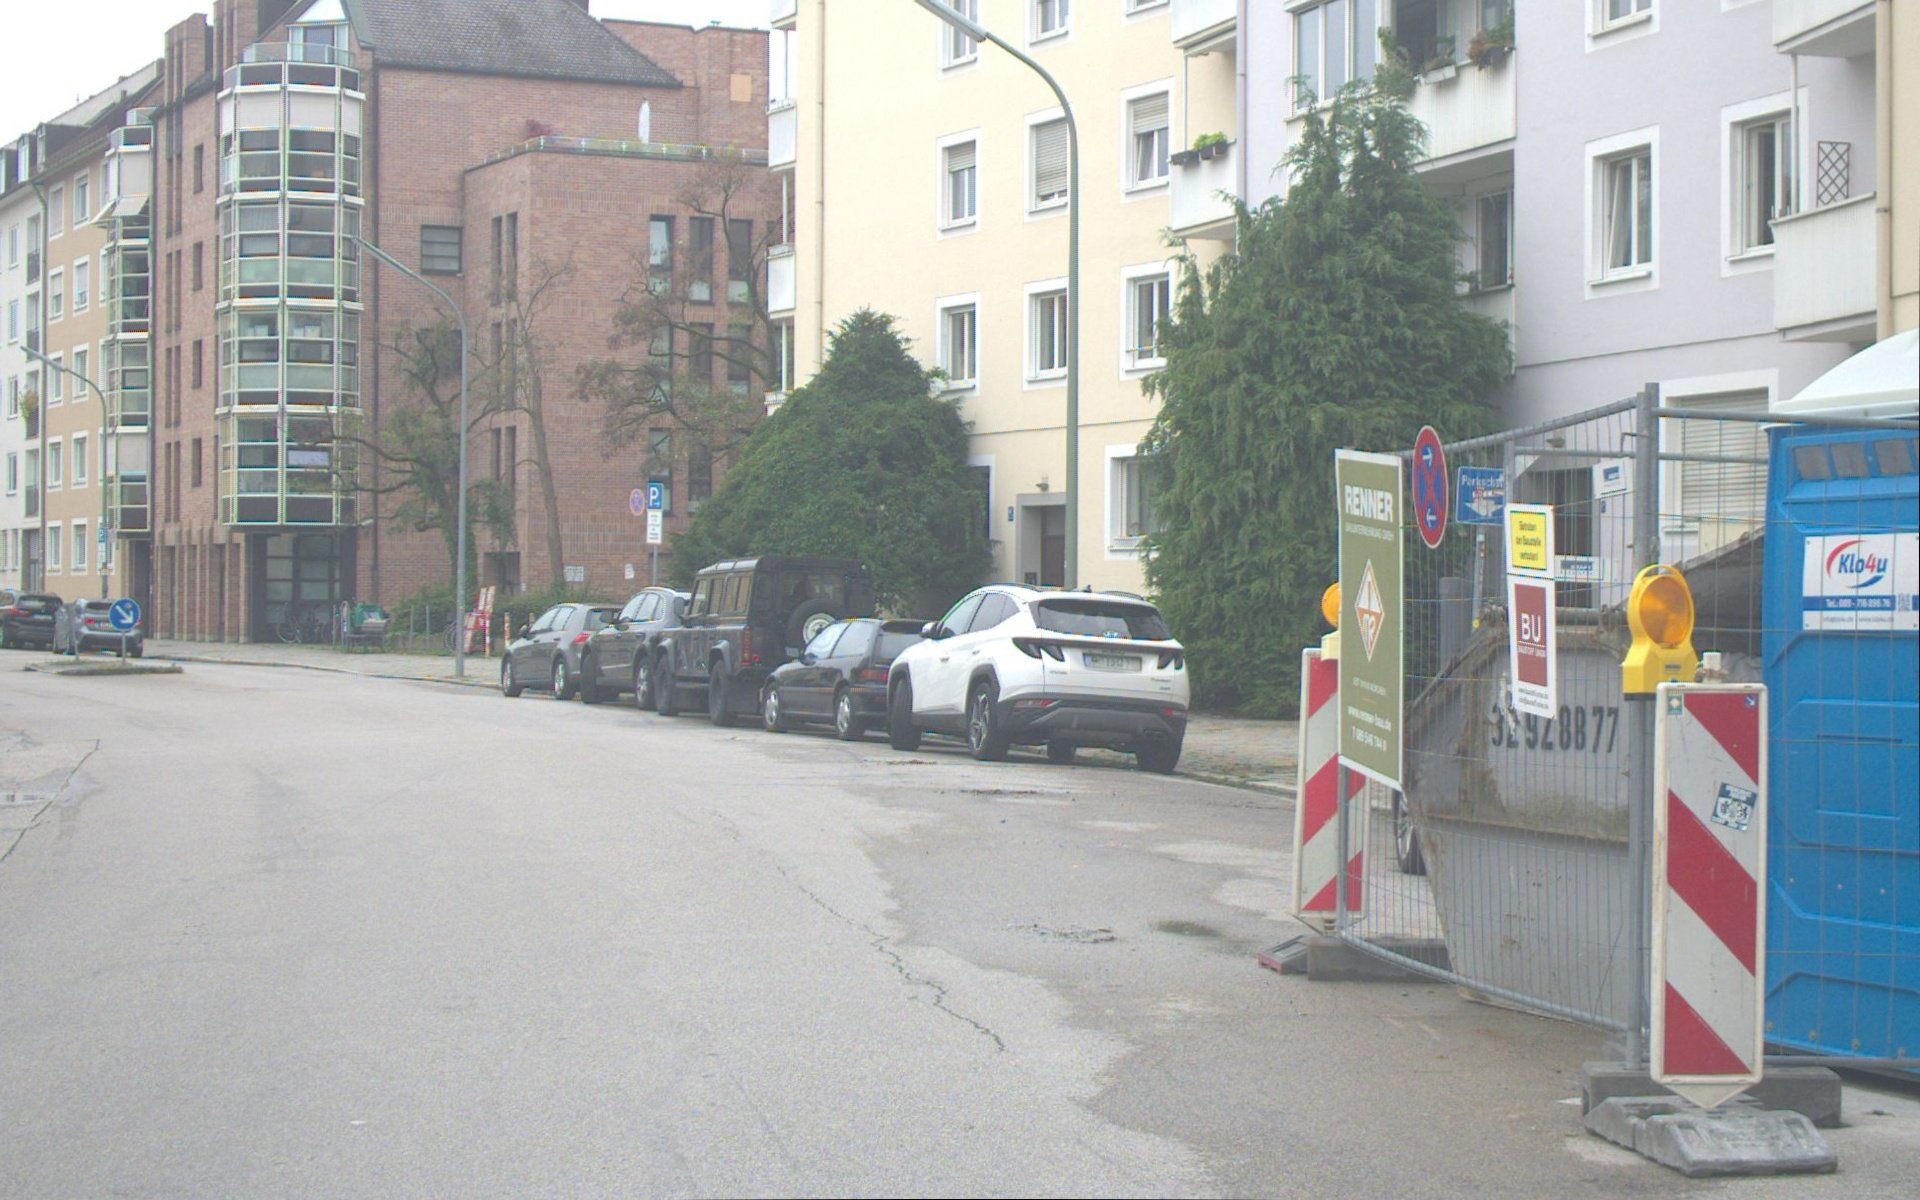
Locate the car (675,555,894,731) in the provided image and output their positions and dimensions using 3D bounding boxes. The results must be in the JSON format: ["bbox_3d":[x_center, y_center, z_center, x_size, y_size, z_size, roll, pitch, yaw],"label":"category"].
[{"bbox_3d":[-2.156,0.483,41.270,1.780,1.970,3.721,-1,0,-16],"label":"car"}]

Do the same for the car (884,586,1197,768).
[{"bbox_3d":[0.678,0.675,32.201,1.830,1.568,4.001,1,0,-16],"label":"car"}]

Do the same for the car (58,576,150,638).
[{"bbox_3d":[-21.072,0.171,84.583,1.632,1.478,3.611,1,0,-23],"label":"car"}]

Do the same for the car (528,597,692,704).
[{"bbox_3d":[-5.203,0.709,50.759,1.780,1.505,3.721,0,0,-16],"label":"car"}]

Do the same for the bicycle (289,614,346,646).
[{"bbox_3d":[-17.373,0.810,92.917,1.101,0.851,1.728,1,0,-26],"label":"bicycle"}]

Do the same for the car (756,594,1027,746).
[{"bbox_3d":[-0.798,0.725,37.032,1.780,1.514,3.721,1,0,-20],"label":"car"}]

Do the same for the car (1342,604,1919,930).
[{"bbox_3d":[3.370,0.756,17.661,1.780,1.434,4.283,0,0,-8],"label":"car"}]

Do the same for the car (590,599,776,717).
[{"bbox_3d":[-3.789,0.757,46.502,1.780,1.505,3.721,1,0,-16],"label":"car"}]

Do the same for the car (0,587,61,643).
[{"bbox_3d":[-25.728,0.404,94.141,1.632,1.478,3.611,1,0,-23],"label":"car"}]

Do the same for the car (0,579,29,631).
[{"bbox_3d":[-27.833,0.127,98.713,1.632,1.478,3.611,1,0,-23],"label":"car"}]
